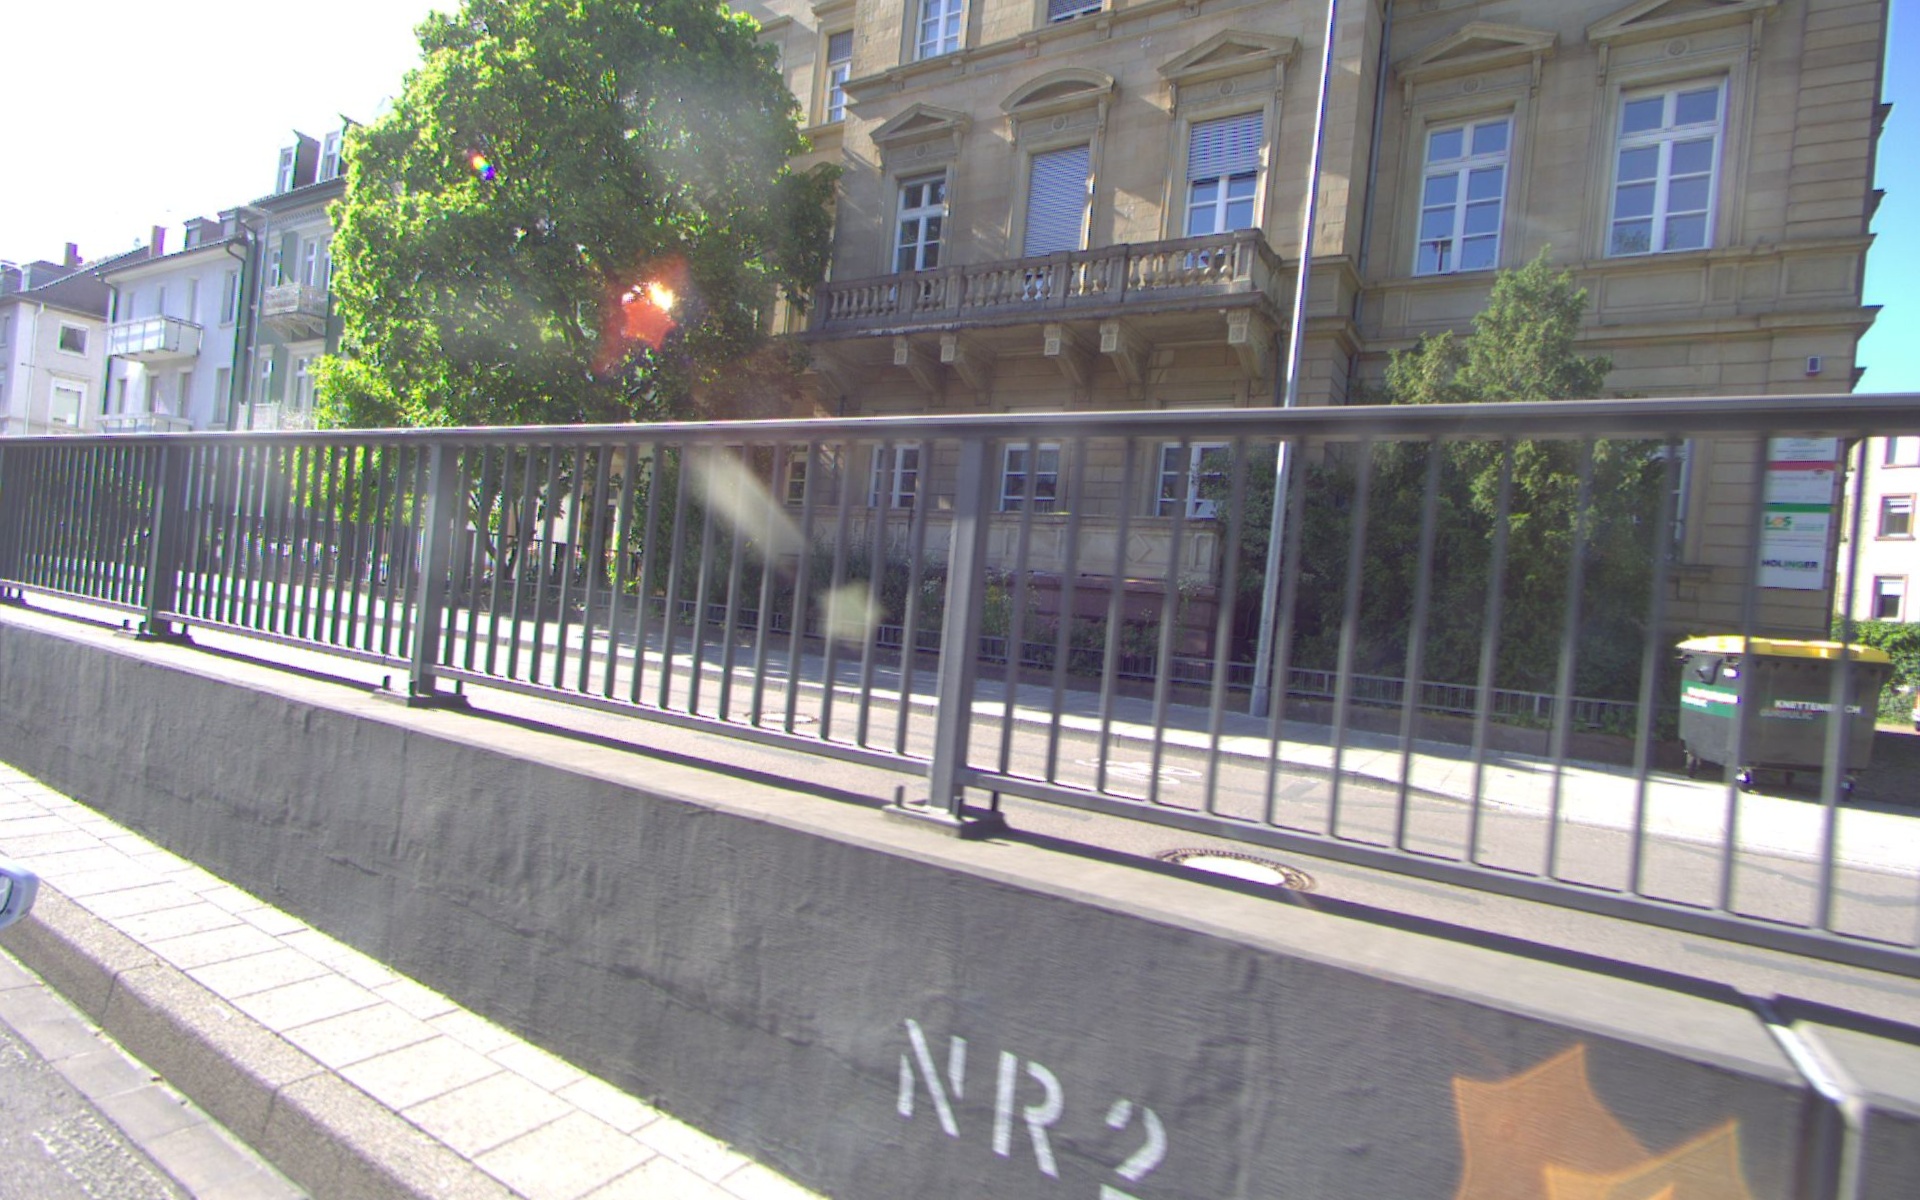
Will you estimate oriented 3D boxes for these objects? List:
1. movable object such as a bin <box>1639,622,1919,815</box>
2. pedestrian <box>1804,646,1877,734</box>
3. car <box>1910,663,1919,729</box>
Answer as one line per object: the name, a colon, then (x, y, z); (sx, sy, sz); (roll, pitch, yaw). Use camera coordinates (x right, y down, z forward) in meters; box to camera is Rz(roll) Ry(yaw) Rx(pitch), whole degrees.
movable object such as a bin: (7.278, 0.991, 9.042); (1.383, 1.344, 1.448); (6, 5, 14)
pedestrian: (16.347, 1.675, 18.710); (0.799, 1.498, 0.852); (6, -1, 35)
car: (30.497, 3.125, 30.364); (3.880, 1.904, 1.828); (9, -2, -35)
